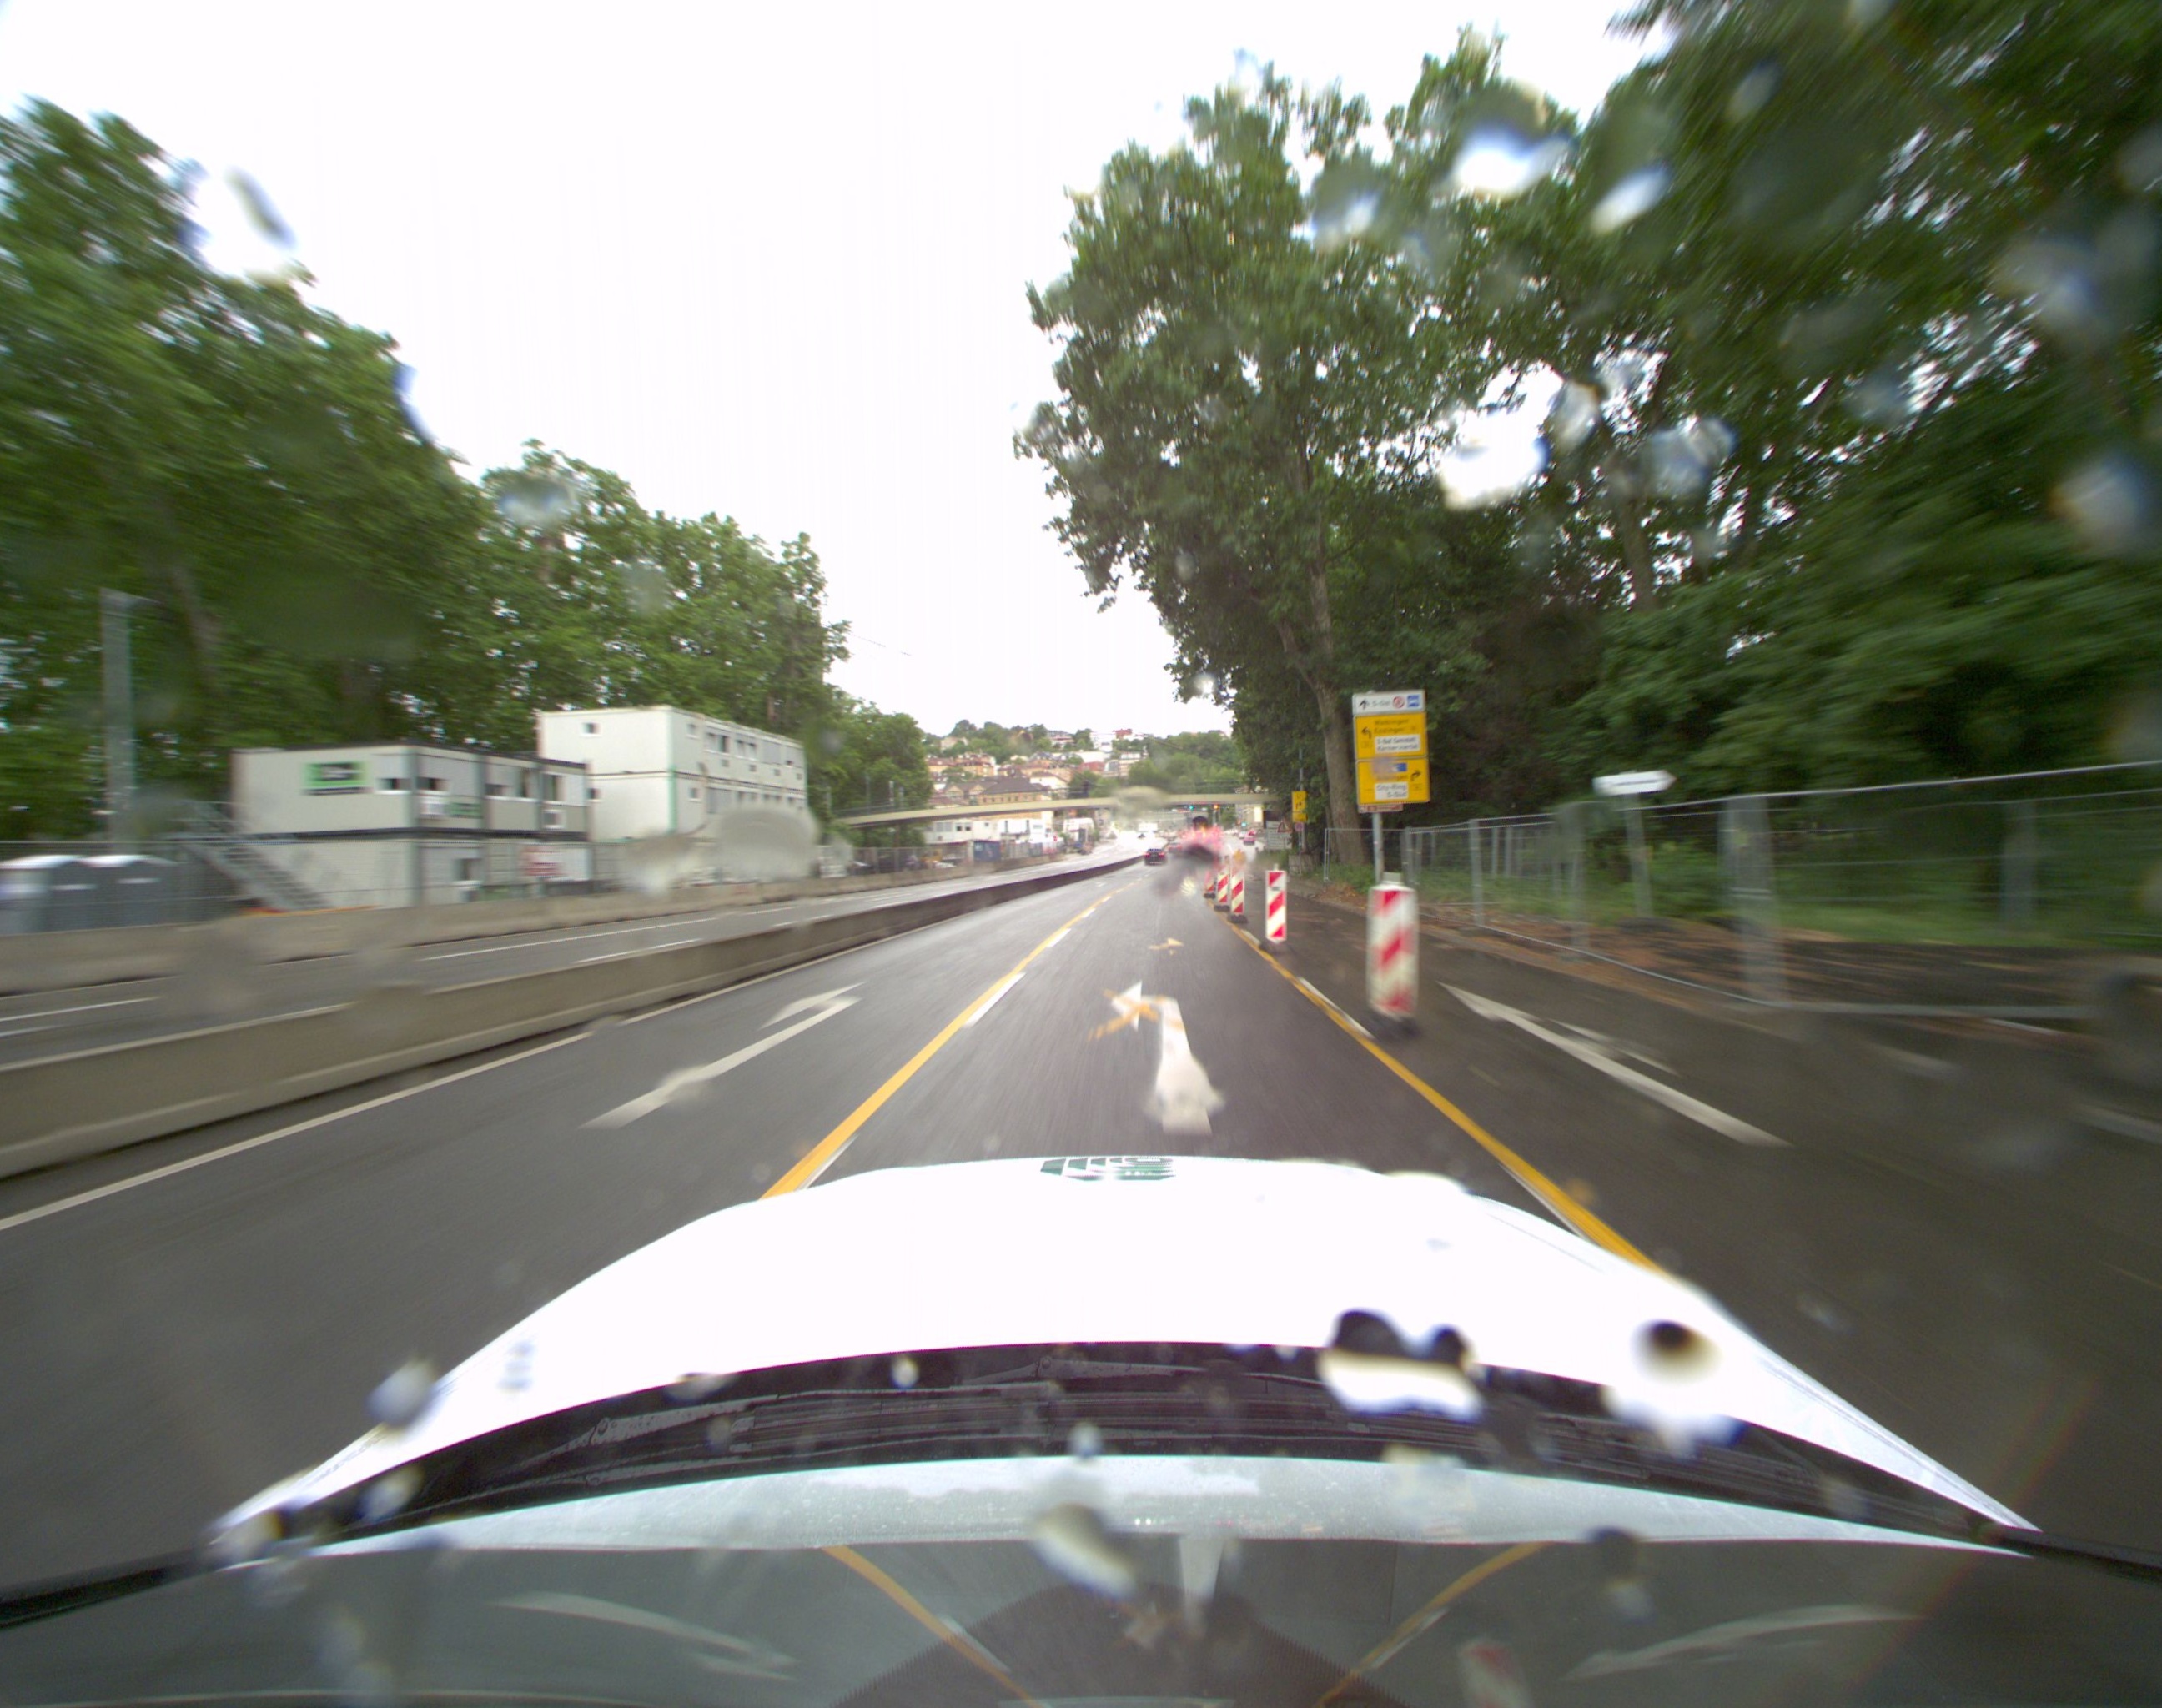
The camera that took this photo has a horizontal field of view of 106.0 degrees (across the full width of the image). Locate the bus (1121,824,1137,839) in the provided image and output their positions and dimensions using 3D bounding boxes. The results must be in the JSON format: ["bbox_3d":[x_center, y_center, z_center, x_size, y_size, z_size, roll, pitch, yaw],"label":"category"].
[{"bbox_3d":[11.176,-5.242,188.574,2.790,3.184,8.828,-3,1,8],"label":"bus"}]

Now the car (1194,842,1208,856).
[{"bbox_3d":[18.651,-0.764,126.857,2.040,2.013,4.008,-3,0,7],"label":"car"}]

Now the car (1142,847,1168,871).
[{"bbox_3d":[6.669,0.411,72.828,2.005,2.013,4.009,-3,0,8],"label":"car"}]

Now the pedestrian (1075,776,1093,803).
[{"bbox_3d":[0.229,-5.335,67.409,1.139,2.060,1.064,-3,-1,16],"label":"pedestrian"}]

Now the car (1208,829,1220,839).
[{"bbox_3d":[26.716,-4.009,163.452,1.983,1.698,4.007,-3,0,6],"label":"car"}]

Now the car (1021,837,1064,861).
[{"bbox_3d":[-4.866,-0.719,103.692,1.974,2.875,6.091,-3,-1,35],"label":"car"}]

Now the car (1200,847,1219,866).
[{"bbox_3d":[14.885,0.260,94.598,2.093,2.050,4.009,-3,0,8],"label":"car"}]

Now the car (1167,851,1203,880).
[{"bbox_3d":[5.957,0.626,46.434,1.801,1.527,4.011,-3,0,9],"label":"car"}]

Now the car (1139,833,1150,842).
[{"bbox_3d":[13.591,-3.560,175.020,2.070,1.630,4.863,-2,1,7],"label":"car"}]

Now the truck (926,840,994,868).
[{"bbox_3d":[-11.973,-0.010,81.016,6.254,2.452,2.694,-3,0,1],"label":"truck"}]

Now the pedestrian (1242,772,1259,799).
[{"bbox_3d":[13.930,-5.578,66.852,1.139,2.060,1.064,-3,-1,16],"label":"pedestrian"}]

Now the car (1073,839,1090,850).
[{"bbox_3d":[0.082,-1.605,134.741,1.980,1.621,4.014,-2,2,12],"label":"car"}]

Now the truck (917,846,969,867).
[{"bbox_3d":[-15.159,0.226,89.527,5.224,2.013,2.166,-3,0,4],"label":"truck"}]

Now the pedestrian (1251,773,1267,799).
[{"bbox_3d":[14.782,-5.627,67.695,1.139,2.060,1.064,-3,-1,16],"label":"pedestrian"}]

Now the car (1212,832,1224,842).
[{"bbox_3d":[26.462,-3.329,157.243,1.983,1.698,4.007,-3,0,6],"label":"car"}]

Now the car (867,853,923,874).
[{"bbox_3d":[-16.367,0.833,71.730,4.410,1.627,1.958,-3,0,-1],"label":"car"}]

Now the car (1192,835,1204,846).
[{"bbox_3d":[22.182,-2.519,154.338,1.983,1.869,4.008,-3,0,7],"label":"car"}]

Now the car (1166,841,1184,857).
[{"bbox_3d":[12.695,-0.630,109.778,1.981,2.013,4.012,-3,0,11],"label":"car"}]

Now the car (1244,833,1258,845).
[{"bbox_3d":[28.584,-2.566,137.267,1.982,2.013,4.009,-1,1,7],"label":"car"}]

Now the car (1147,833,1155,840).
[{"bbox_3d":[16.625,-4.044,192.981,1.699,1.489,3.460,-3,0,9],"label":"car"}]
